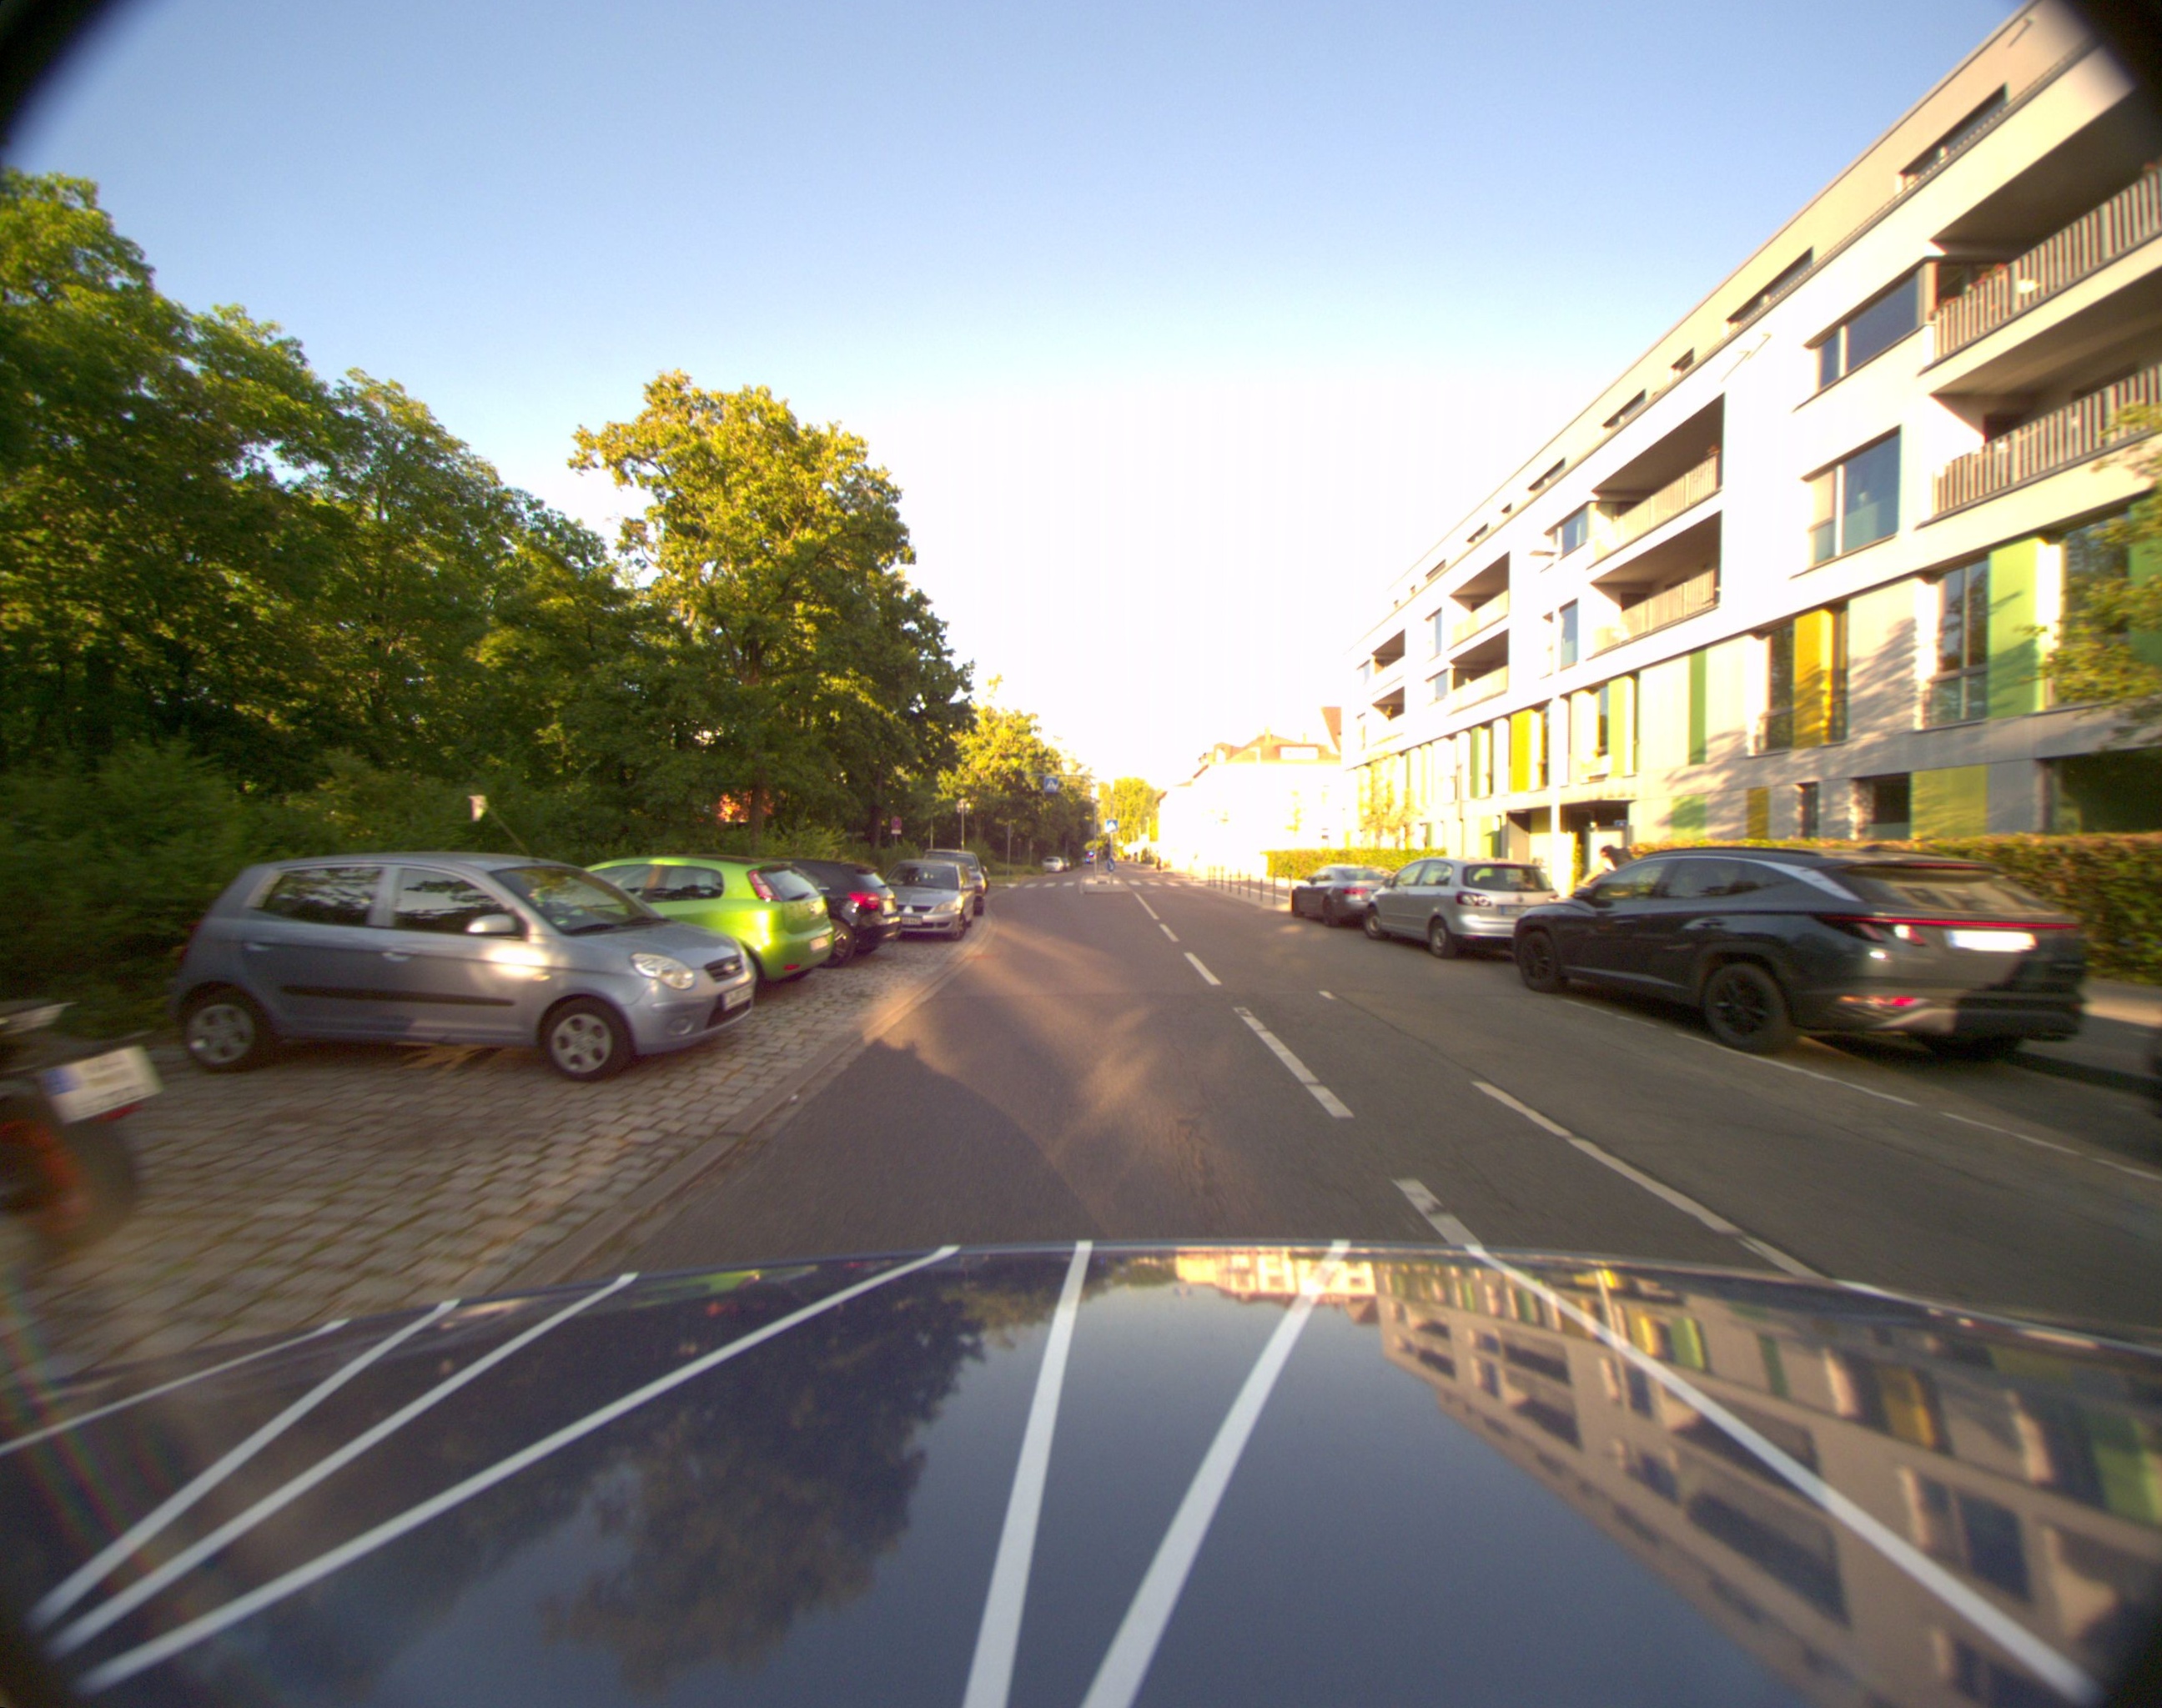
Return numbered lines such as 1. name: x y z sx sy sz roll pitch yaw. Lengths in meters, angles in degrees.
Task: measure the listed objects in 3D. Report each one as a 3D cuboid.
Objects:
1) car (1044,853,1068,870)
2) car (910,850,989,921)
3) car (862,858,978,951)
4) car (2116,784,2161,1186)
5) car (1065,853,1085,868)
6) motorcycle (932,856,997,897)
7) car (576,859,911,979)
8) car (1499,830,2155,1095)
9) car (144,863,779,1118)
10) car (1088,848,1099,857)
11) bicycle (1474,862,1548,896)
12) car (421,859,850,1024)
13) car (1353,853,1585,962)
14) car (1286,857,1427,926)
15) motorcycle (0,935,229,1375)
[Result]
1. car: -2.356 0.667 72.349 1.752 1.478 4.177 -1 0 4
2. car: -3.608 0.773 21.113 1.928 1.738 4.662 0 0 -9
3. car: -3.007 0.875 15.008 1.655 1.558 4.299 1 0 -4
4. car: 5.969 0.619 1.583 1.812 1.878 4.238 1 0 0
5. car: -0.558 0.658 78.674 1.752 1.478 4.510 0 0 3
6. motorcycle: -4.525 0.850 29.589 2.296 1.536 1.040 0 1 5
7. car: -4.586 0.854 10.748 3.959 1.503 1.739 1 0 0
8. car: 5.999 0.708 7.080 1.746 1.666 4.416 1 0 0
9. car: -4.313 0.878 5.696 3.393 1.517 1.671 1 1 1
10. car: 2.885 -0.269 171.475 2.228 2.002 4.890 -1 0 2
11. bicycle: 12.188 0.706 21.556 1.756 0.912 0.617 -1 1 -1
12. car: -4.607 0.865 8.247 3.635 1.531 1.671 -1 1 1
13. car: 6.205 0.756 12.755 1.746 1.525 4.115 0 0 -1
14. car: 6.188 0.778 17.624 1.746 1.349 4.396 1 0 1
15. motorcycle: -4.436 0.976 2.712 2.096 1.296 0.778 2 1 7
